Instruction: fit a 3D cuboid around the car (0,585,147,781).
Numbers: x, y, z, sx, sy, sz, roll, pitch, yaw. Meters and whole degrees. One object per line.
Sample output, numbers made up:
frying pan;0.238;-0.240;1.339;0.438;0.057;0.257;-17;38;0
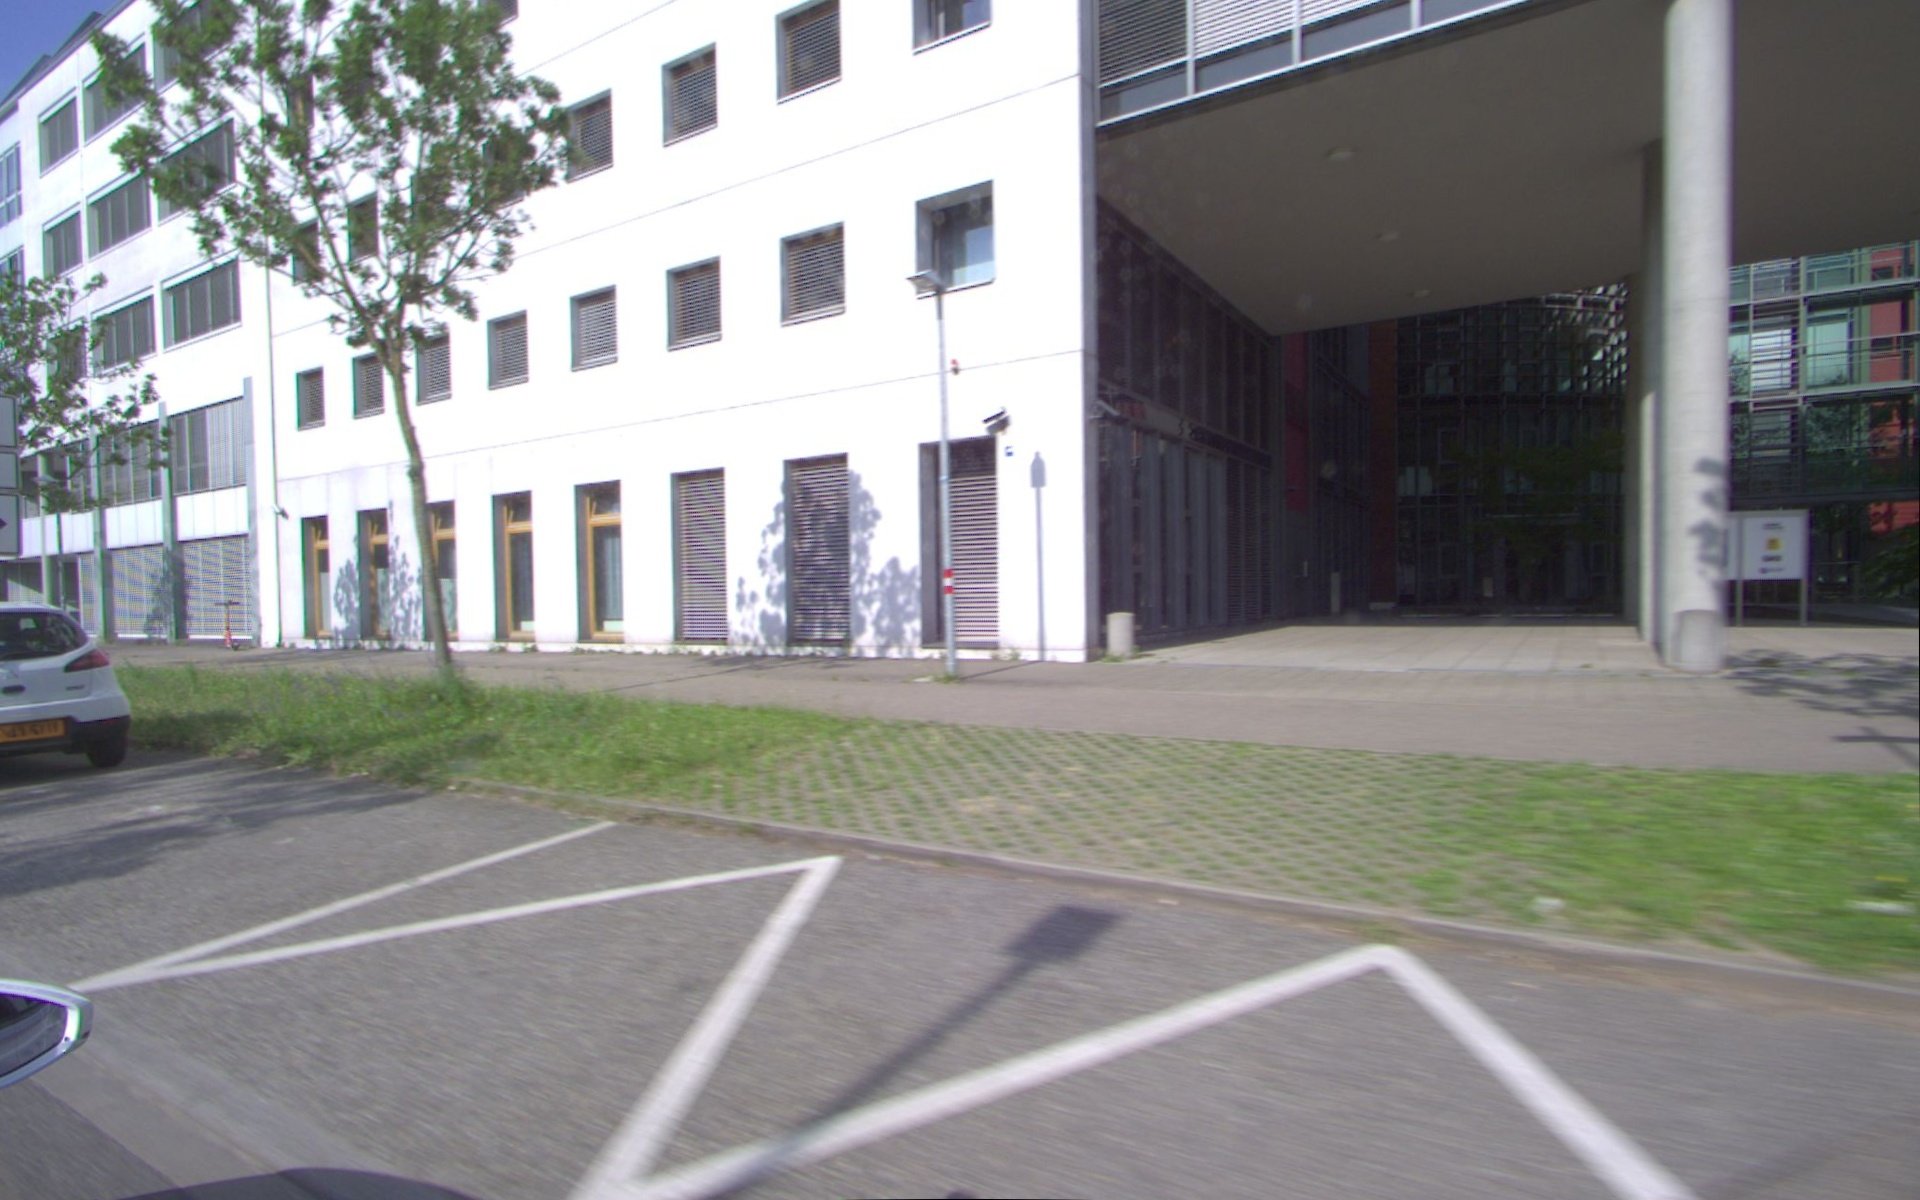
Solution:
car;-9.341;0.700;9.194;3.794;1.547;1.684;-1;3;32

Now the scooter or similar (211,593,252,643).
scooter or similar;-18.353;0.442;25.222;1.239;1.230;0.460;0;3;39
